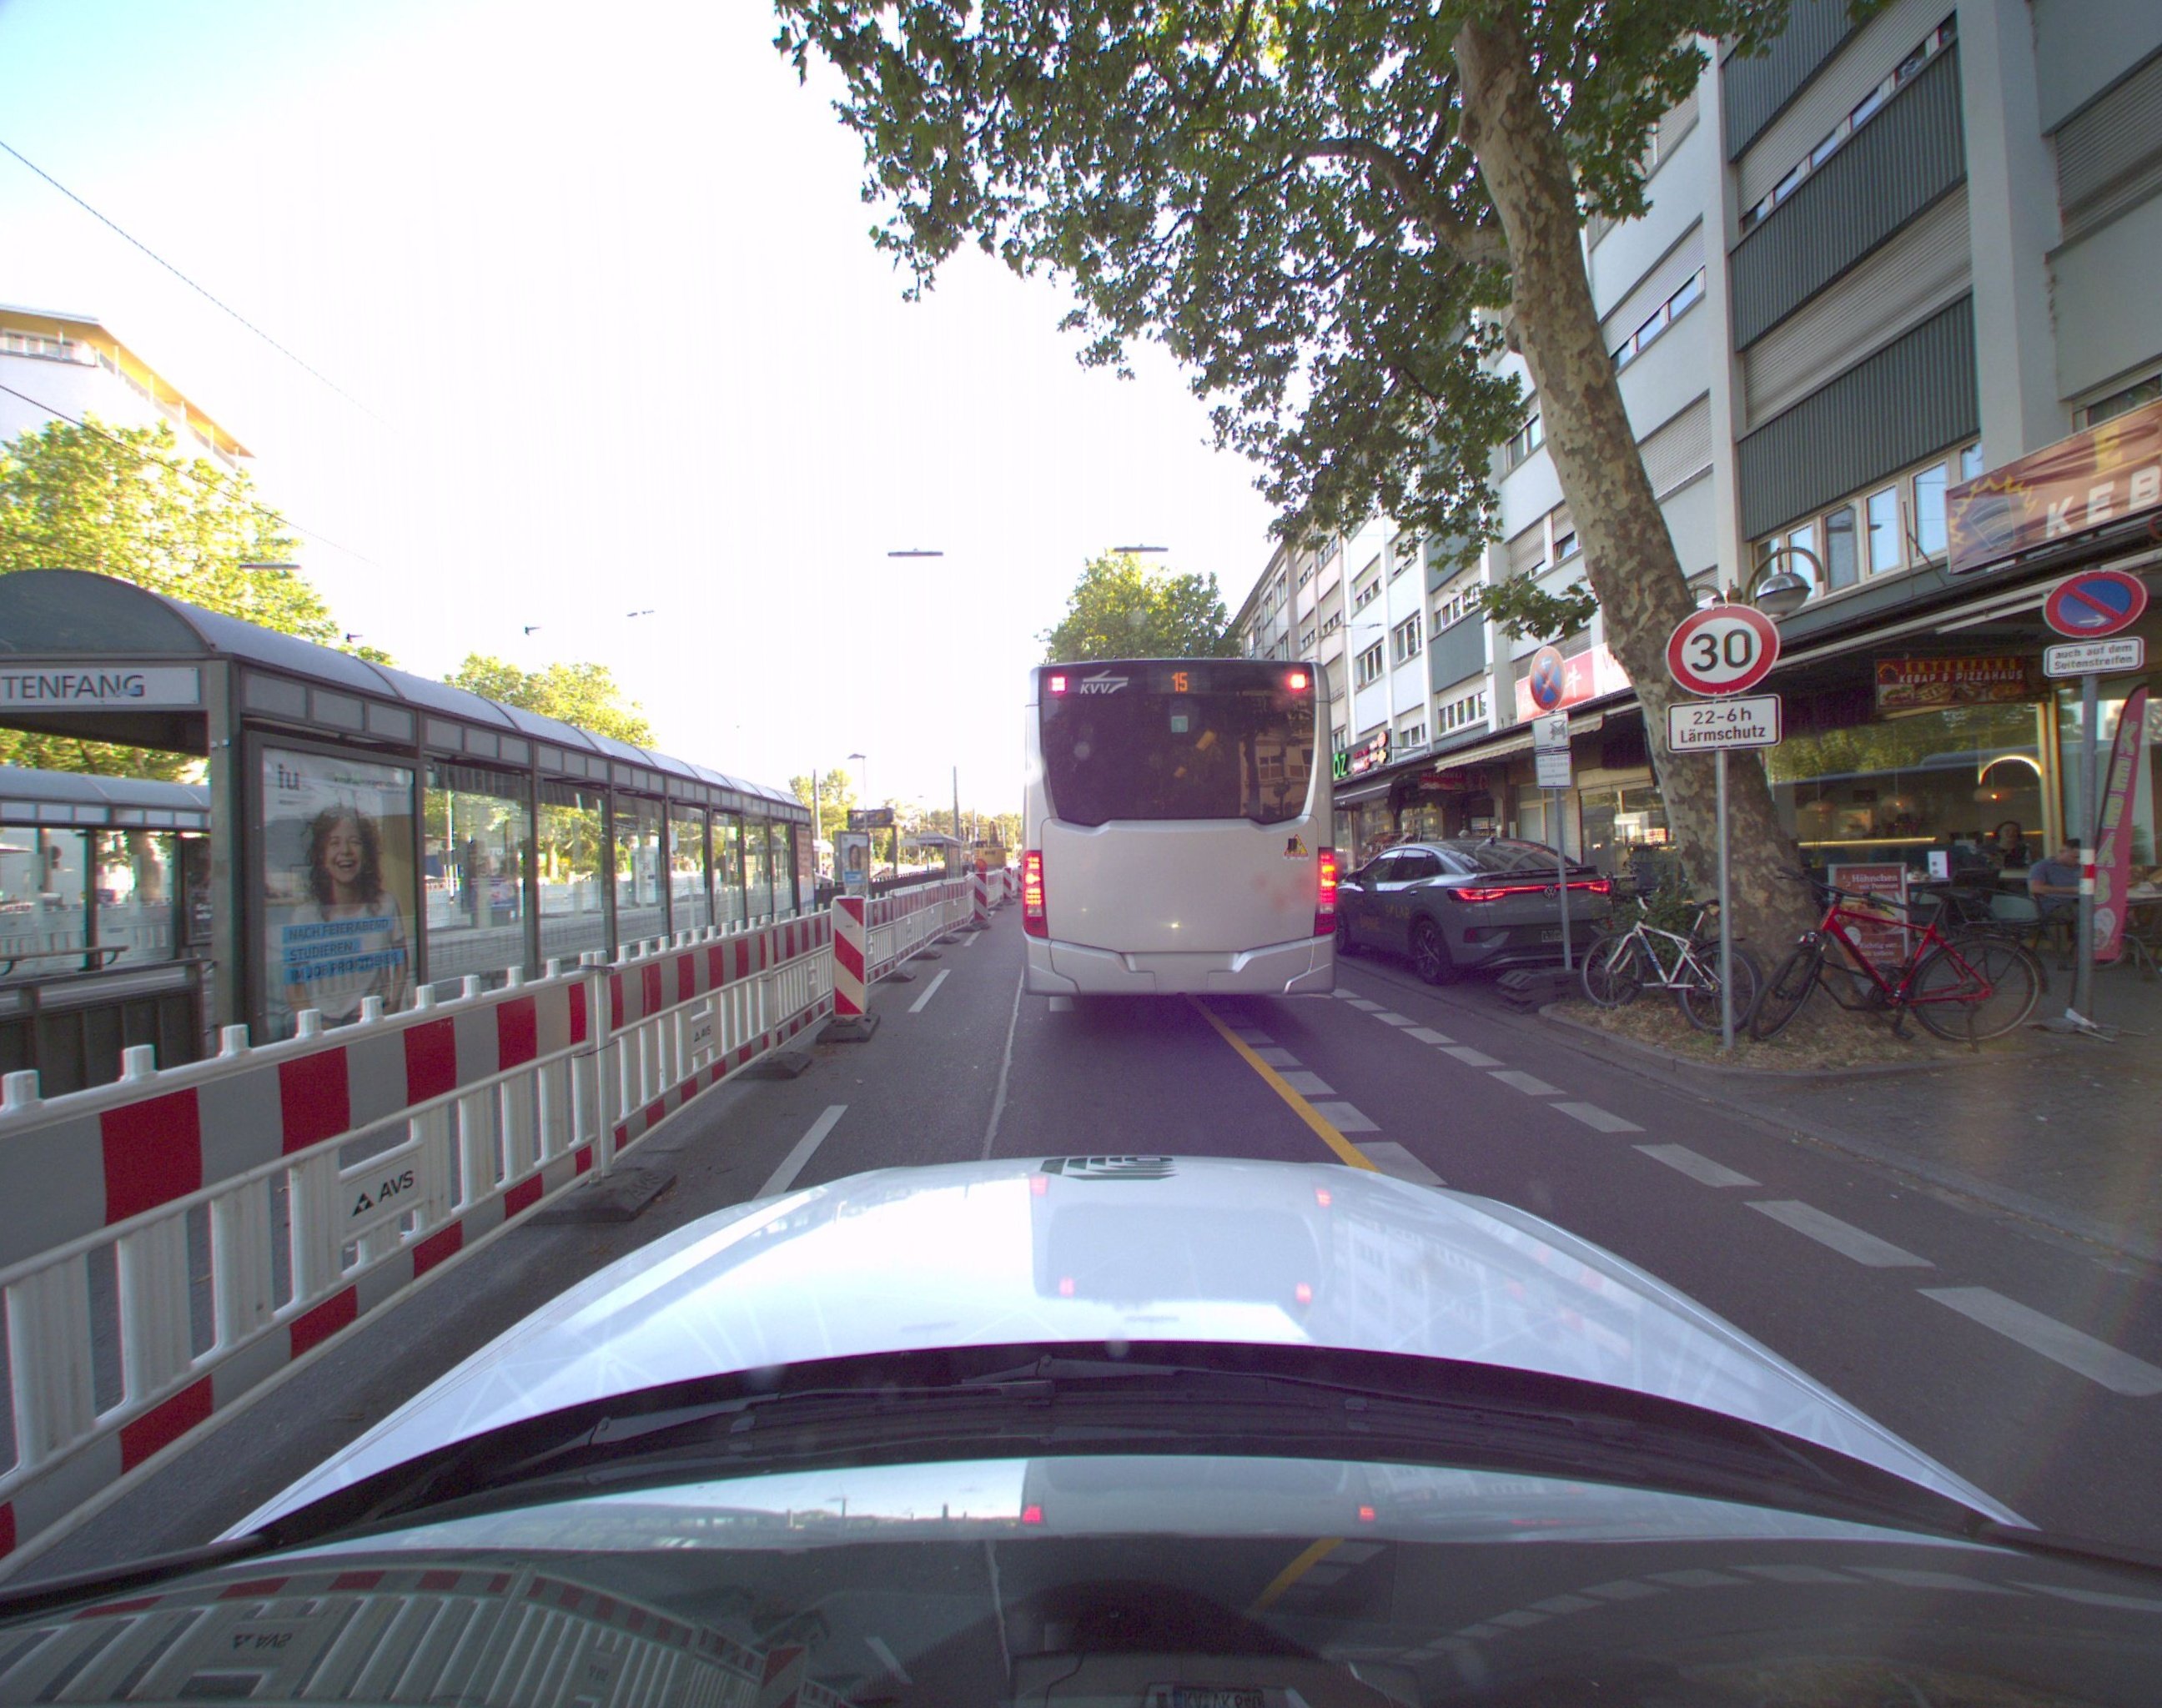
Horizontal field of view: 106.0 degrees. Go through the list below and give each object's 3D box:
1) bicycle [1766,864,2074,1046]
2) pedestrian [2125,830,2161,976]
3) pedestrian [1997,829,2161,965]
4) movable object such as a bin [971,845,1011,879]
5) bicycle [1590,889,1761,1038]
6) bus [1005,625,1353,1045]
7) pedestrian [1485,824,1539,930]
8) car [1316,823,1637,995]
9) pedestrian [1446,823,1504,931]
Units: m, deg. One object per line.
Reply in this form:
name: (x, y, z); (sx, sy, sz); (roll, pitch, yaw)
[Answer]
bicycle: (5.482, 0.671, 5.374); (1.450, 1.066, 0.297); (-5, 2, 13)
pedestrian: (9.550, 0.403, 6.814); (0.612, 1.243, 0.714); (-5, -1, 11)
pedestrian: (9.613, 0.401, 7.851); (0.673, 1.203, 0.706); (-5, -1, 11)
movable object such as a bin: (-7.050, 0.613, 64.012); (2.800, 2.462, 3.995); (-2, 0, -3)
bicycle: (4.468, 0.779, 6.192); (0.294, 0.928, 1.127); (-6, 2, -8)
bus: (0.896, -0.107, 11.374); (2.598, 3.170, 10.294); (-1, -1, 2)
pedestrian: (8.394, 0.438, 15.895); (0.611, 2.014, 0.696); (-2, -1, -1)
car: (4.593, 0.560, 10.317); (1.736, 1.597, 4.294); (-4, 0, -3)
pedestrian: (7.615, 0.433, 15.763); (0.689, 2.014, 0.695); (-2, -1, -4)
